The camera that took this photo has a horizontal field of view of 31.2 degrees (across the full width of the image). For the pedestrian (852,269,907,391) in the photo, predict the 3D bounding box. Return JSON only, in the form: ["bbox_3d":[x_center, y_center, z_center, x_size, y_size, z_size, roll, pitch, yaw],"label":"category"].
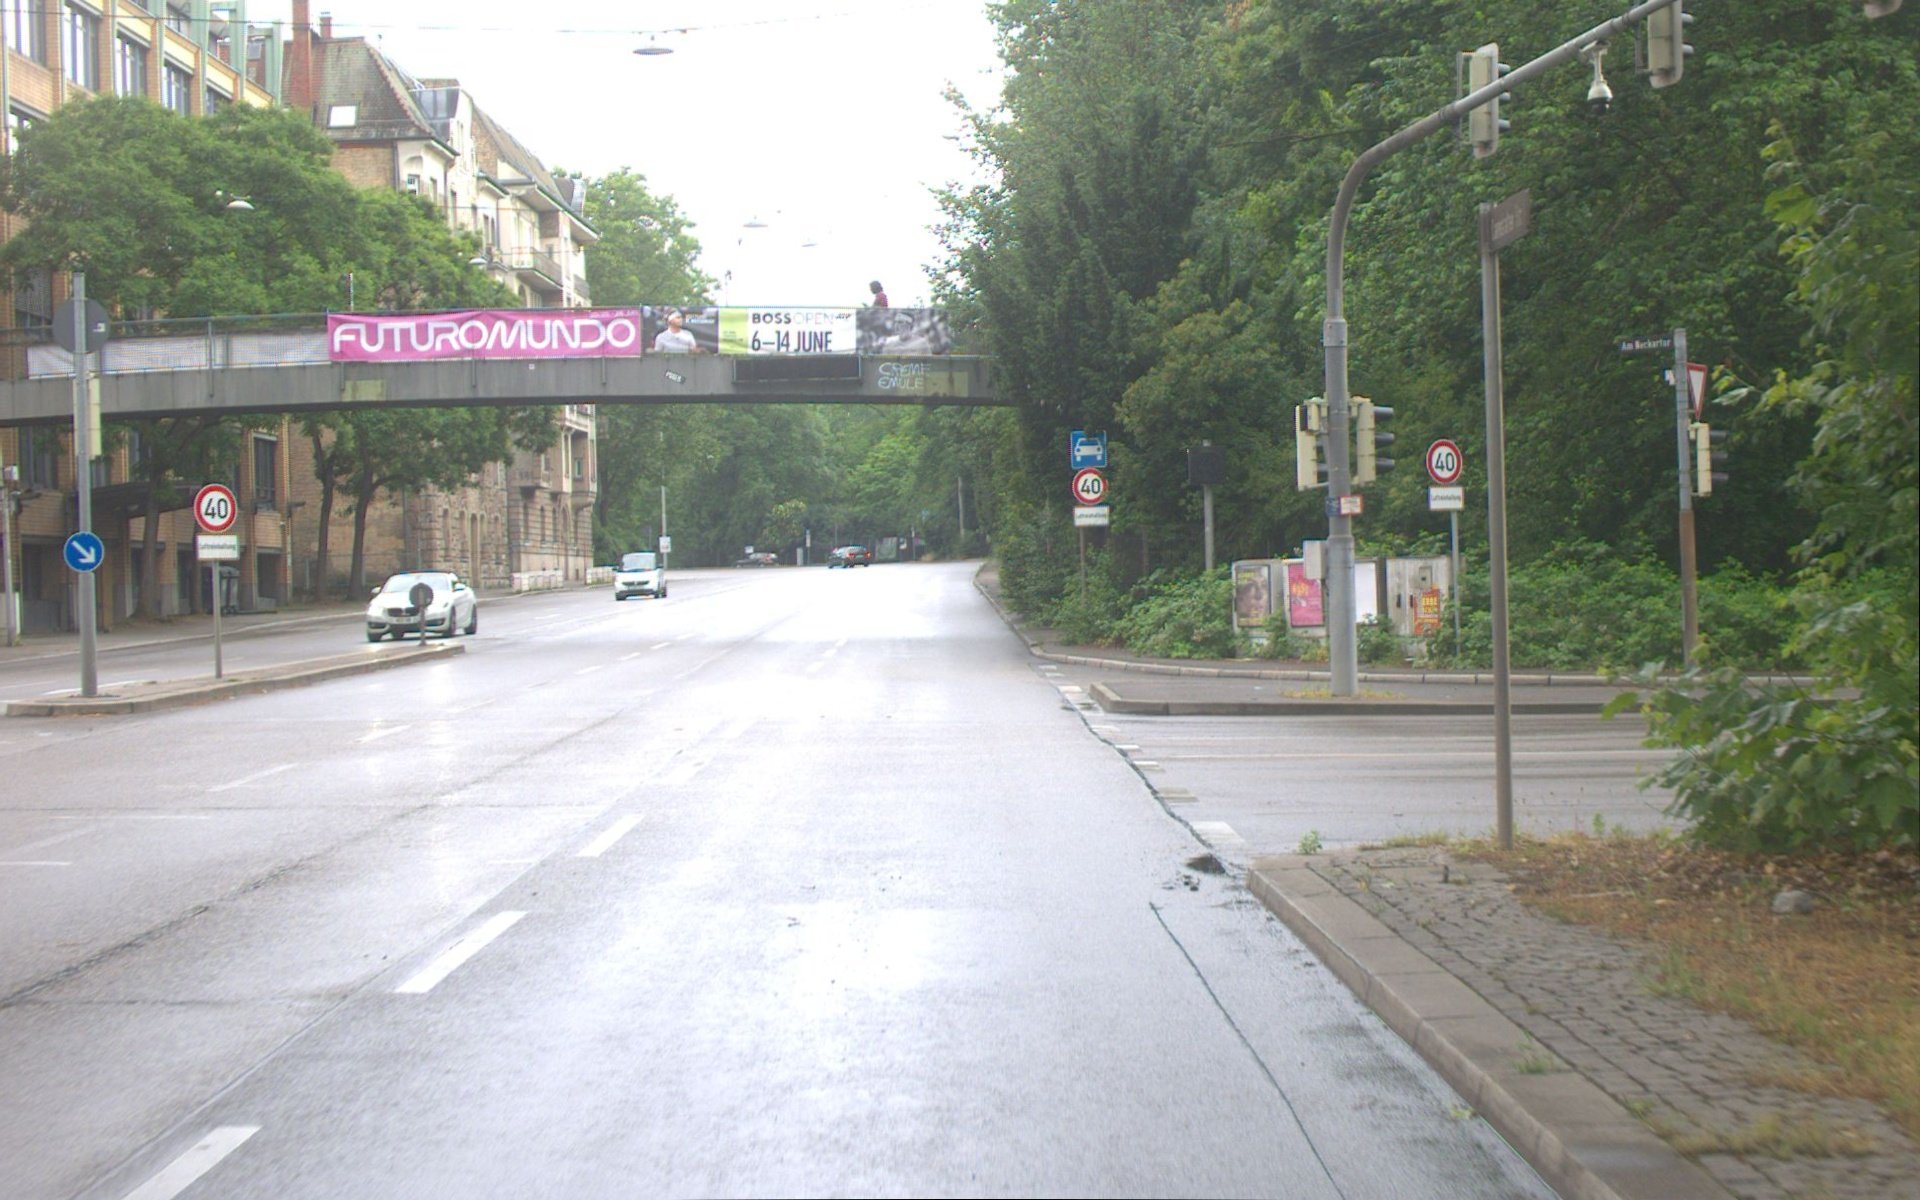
[{"bbox_3d":[-1.612,-5.391,68.795,0.954,2.337,1.007,2,0,-6],"label":"pedestrian"}]

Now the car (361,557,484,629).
[{"bbox_3d":[-11.137,-0.163,71.477,1.830,1.389,4.405,-2,1,0],"label":"car"}]

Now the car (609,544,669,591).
[{"bbox_3d":[-10.792,-1.102,115.790,1.600,1.494,3.711,-2,1,0],"label":"car"}]

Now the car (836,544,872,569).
[{"bbox_3d":[-7.219,-2.966,234.154,2.004,1.638,4.377,-1,1,-8],"label":"car"}]
